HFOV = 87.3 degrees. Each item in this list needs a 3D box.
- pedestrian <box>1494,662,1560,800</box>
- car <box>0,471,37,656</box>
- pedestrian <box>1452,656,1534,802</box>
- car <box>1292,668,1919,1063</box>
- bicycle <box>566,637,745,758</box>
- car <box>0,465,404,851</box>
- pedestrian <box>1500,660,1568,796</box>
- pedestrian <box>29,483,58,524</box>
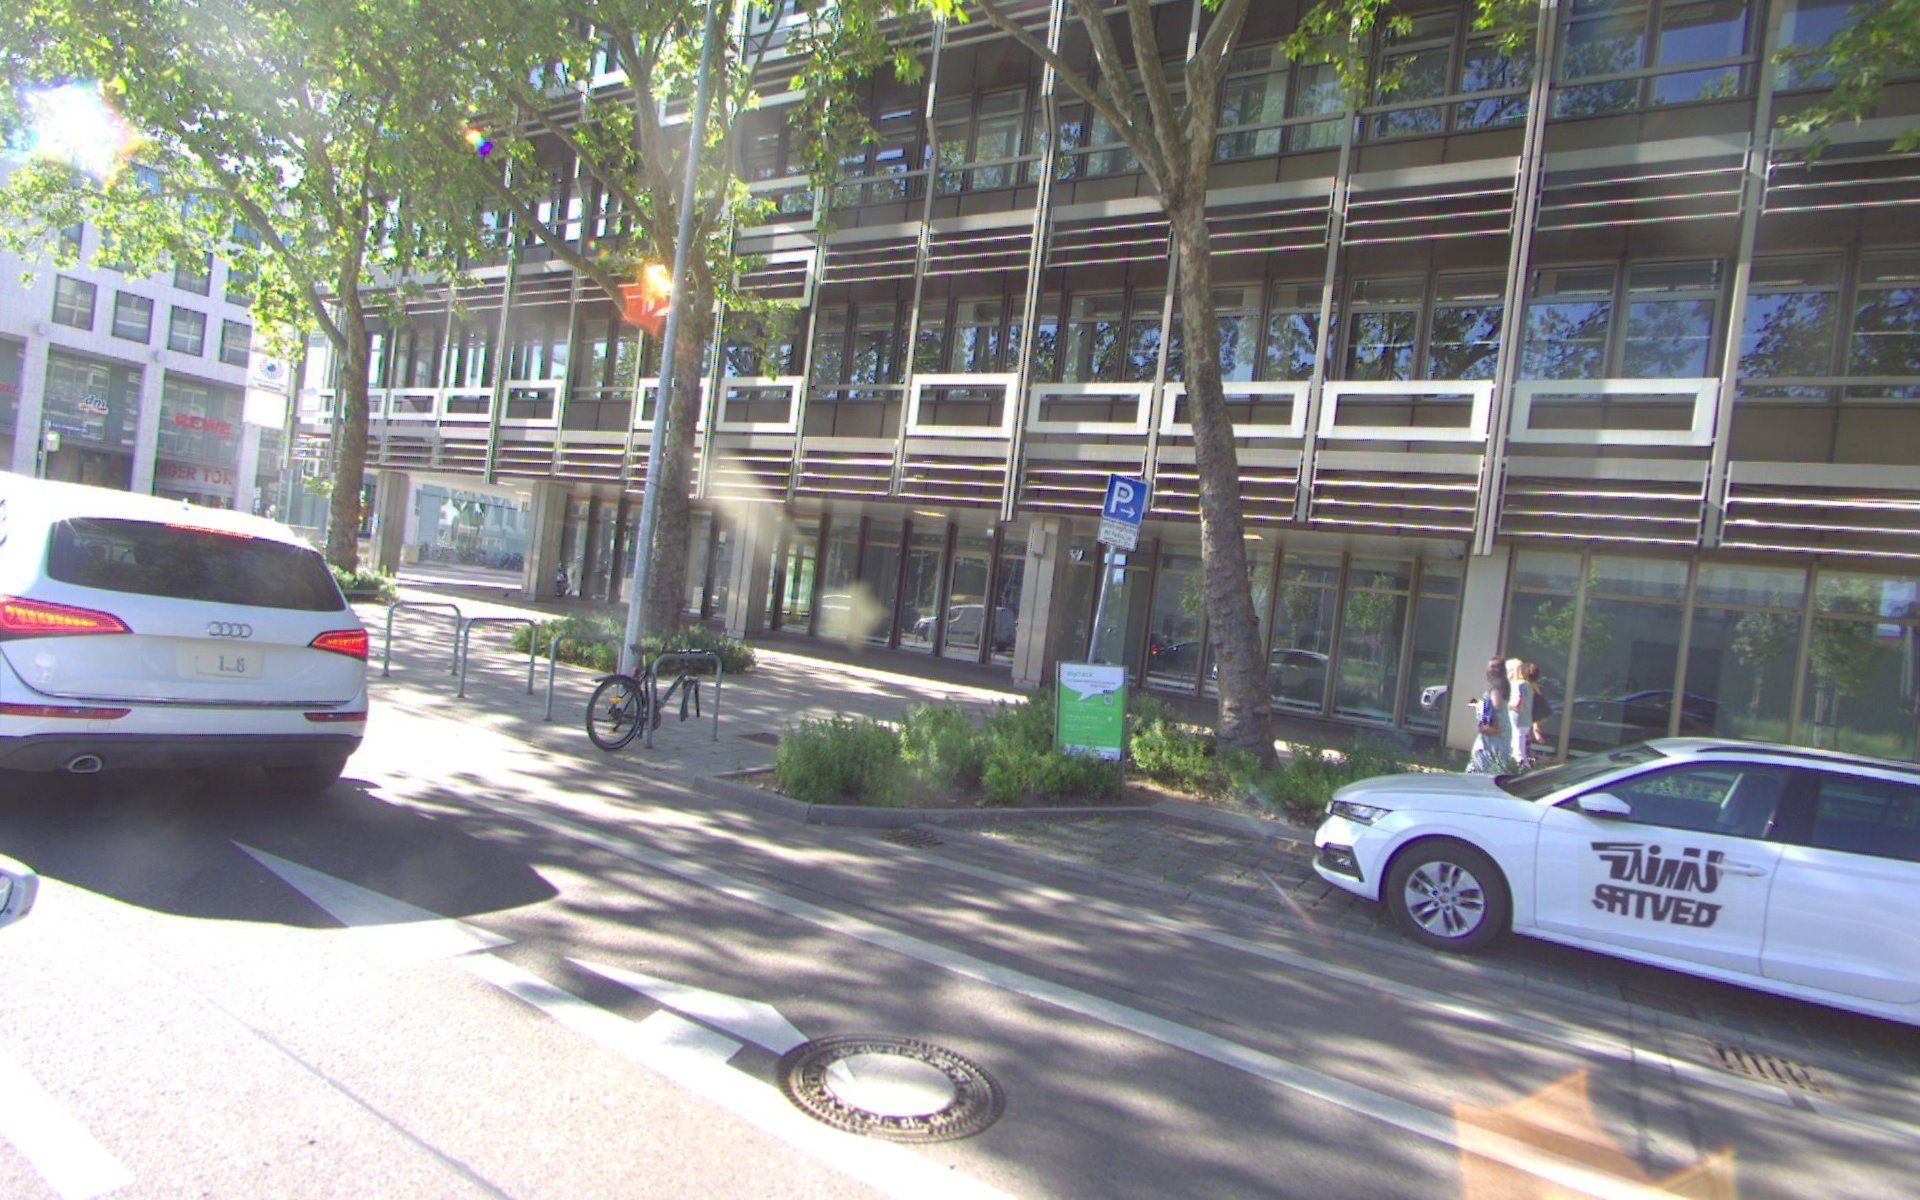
[{"bbox_3d":[6.968,1.594,12.375,0.492,1.604,0.316,8,1,23],"label":"pedestrian"},{"bbox_3d":[-10.759,-0.603,9.573,4.116,1.673,1.724,7,0,31],"label":"car"},{"bbox_3d":[6.316,1.509,11.944,0.623,1.604,0.507,8,1,23],"label":"pedestrian"},{"bbox_3d":[4.583,1.504,6.045,4.524,1.511,1.706,7,0,32],"label":"car"},{"bbox_3d":[-2.786,0.871,9.389,0.470,0.970,1.696,8,1,27],"label":"bicycle"},{"bbox_3d":[-5.360,0.102,6.003,4.118,1.637,1.723,7,0,33],"label":"car"},{"bbox_3d":[7.363,1.623,12.895,0.563,1.622,0.554,8,0,32],"label":"pedestrian"},{"bbox_3d":[-34.628,-3.633,37.993,0.622,1.457,0.562,6,-2,38],"label":"pedestrian"}]
